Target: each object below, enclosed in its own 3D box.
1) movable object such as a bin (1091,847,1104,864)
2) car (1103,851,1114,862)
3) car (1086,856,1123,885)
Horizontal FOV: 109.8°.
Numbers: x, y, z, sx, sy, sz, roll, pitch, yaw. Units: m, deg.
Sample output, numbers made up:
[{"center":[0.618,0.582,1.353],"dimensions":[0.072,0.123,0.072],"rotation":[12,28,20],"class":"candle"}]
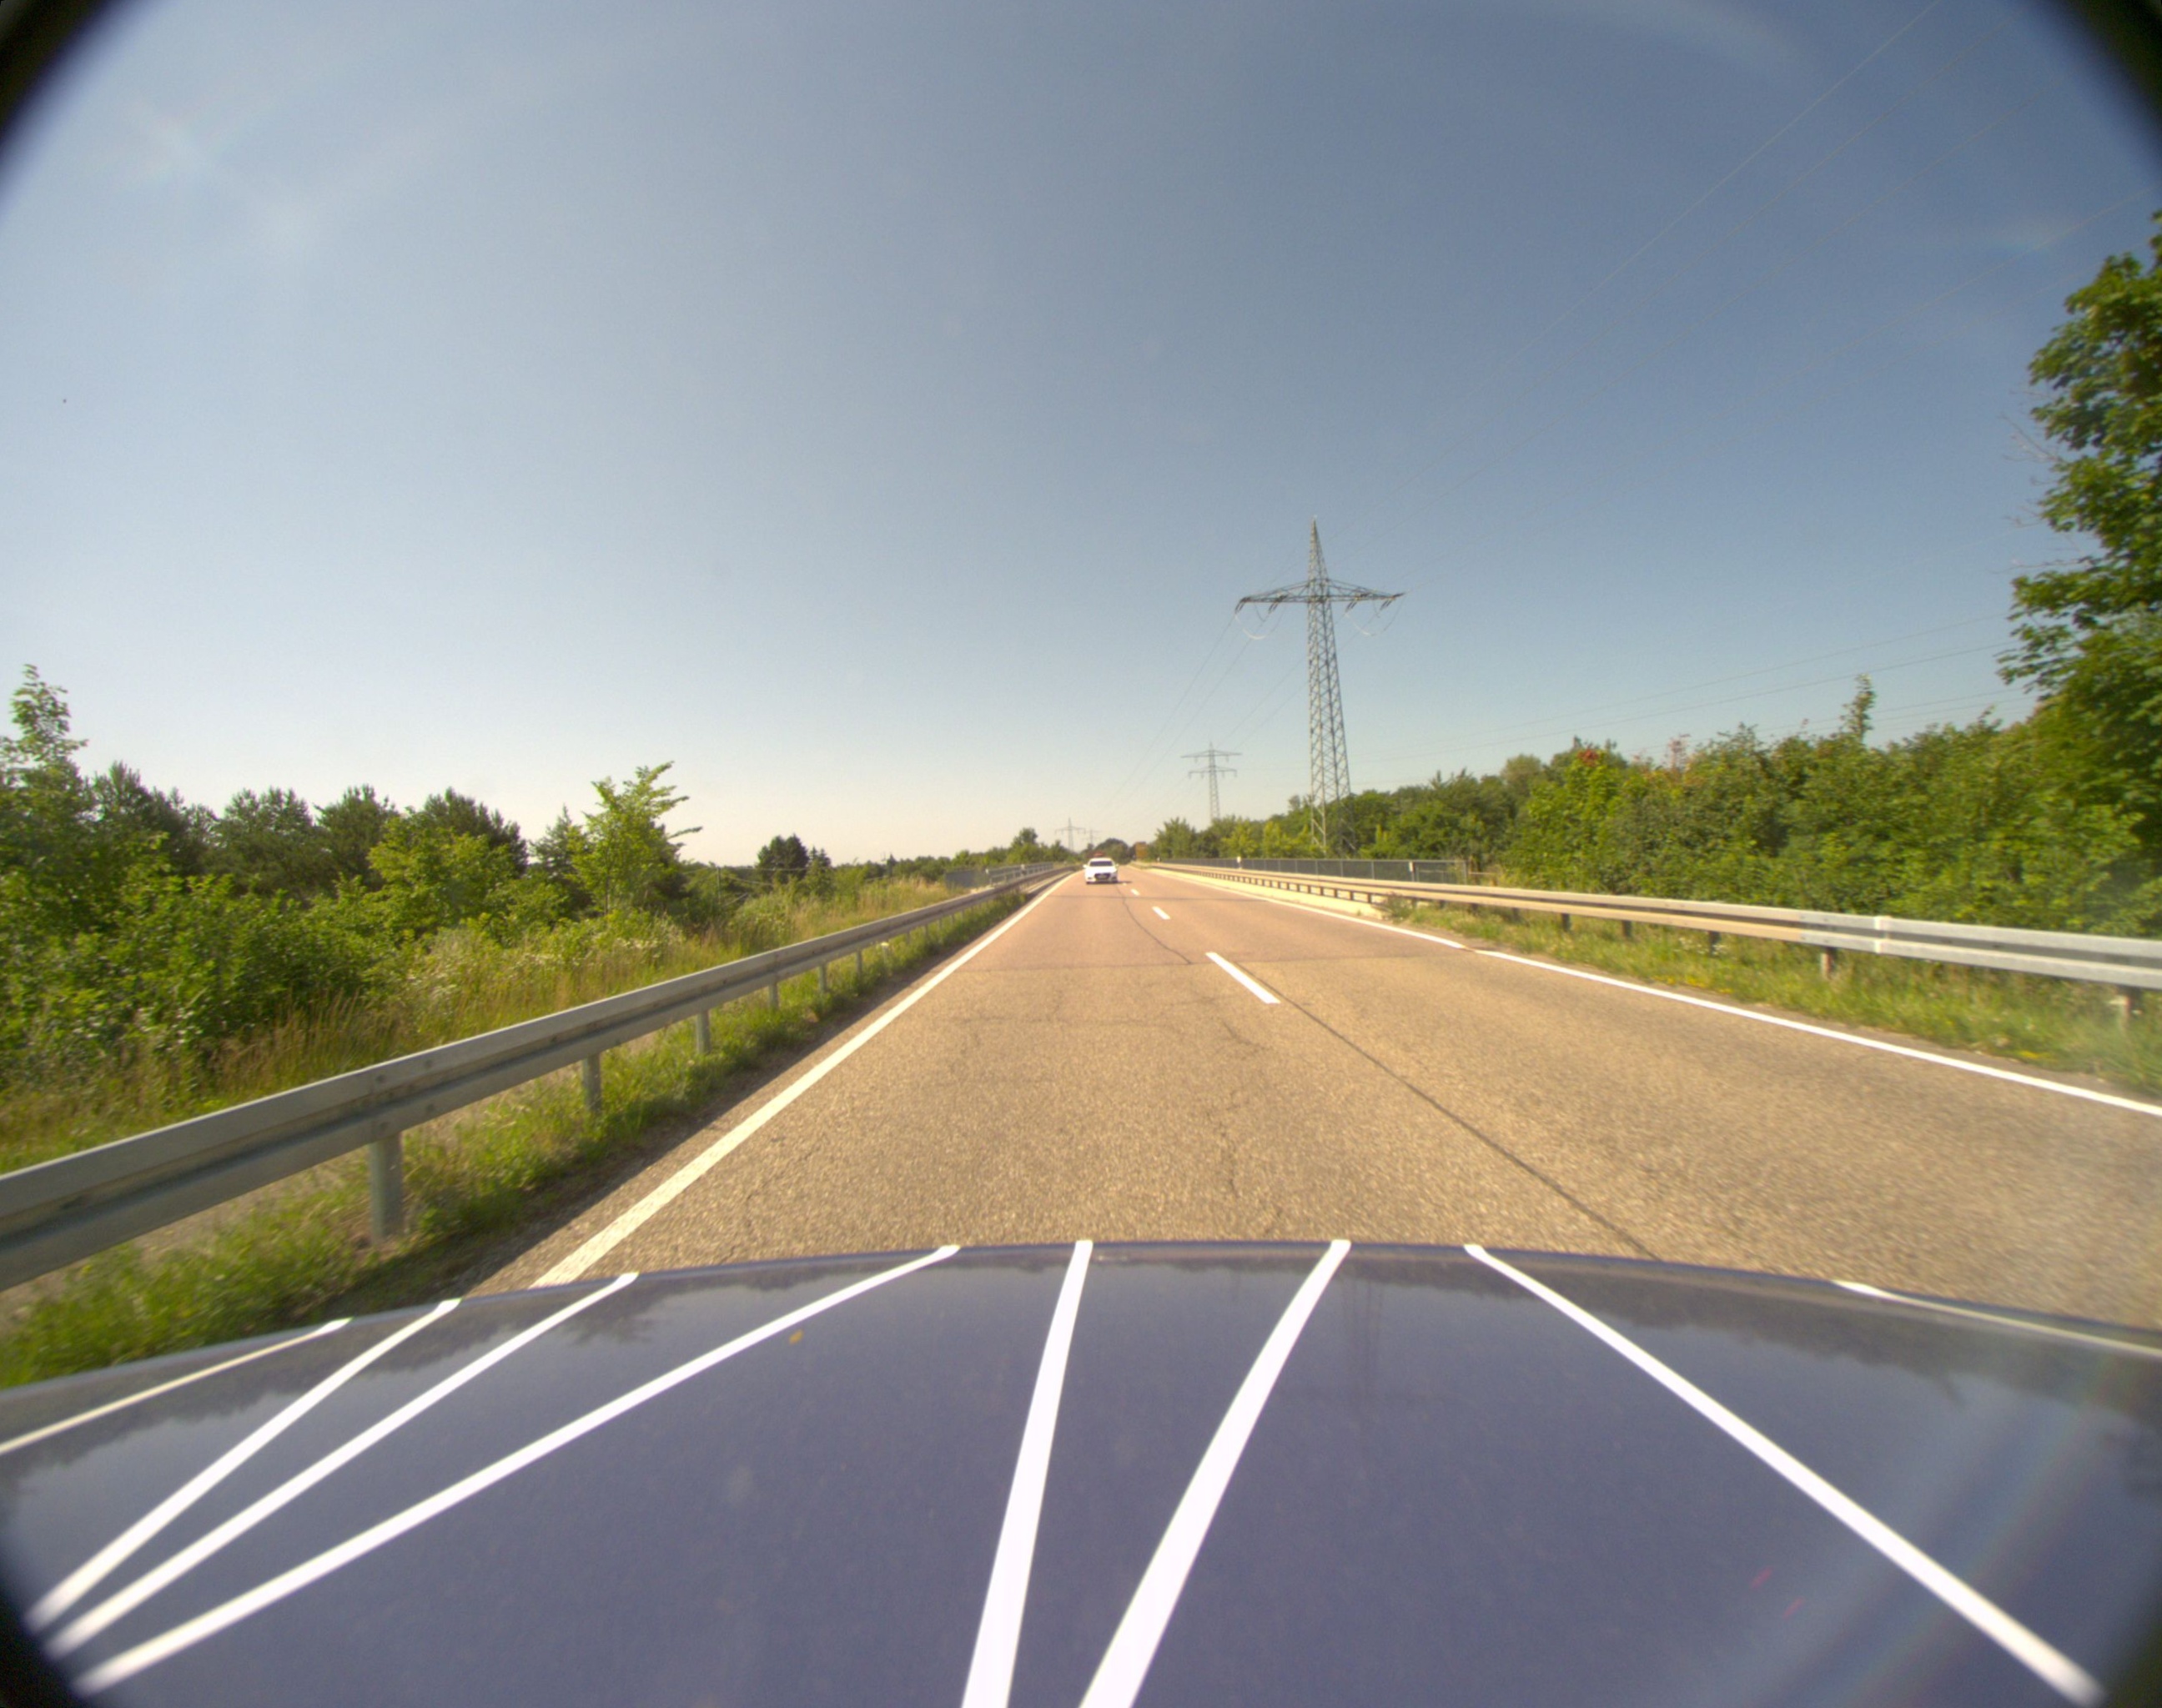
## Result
[{"center":[3.869,0.436,178.046],"dimensions":[2.760,3.816,9.447],"rotation":[-2,-1,2],"class":"movable object such as a bin"},{"center":[5.356,0.471,146.793],"dimensions":[2.126,1.934,5.020],"rotation":[-2,-1,2],"class":"car"},{"center":[1.306,0.938,43.813],"dimensions":[1.922,1.495,4.794],"rotation":[-2,-1,1],"class":"car"}]
